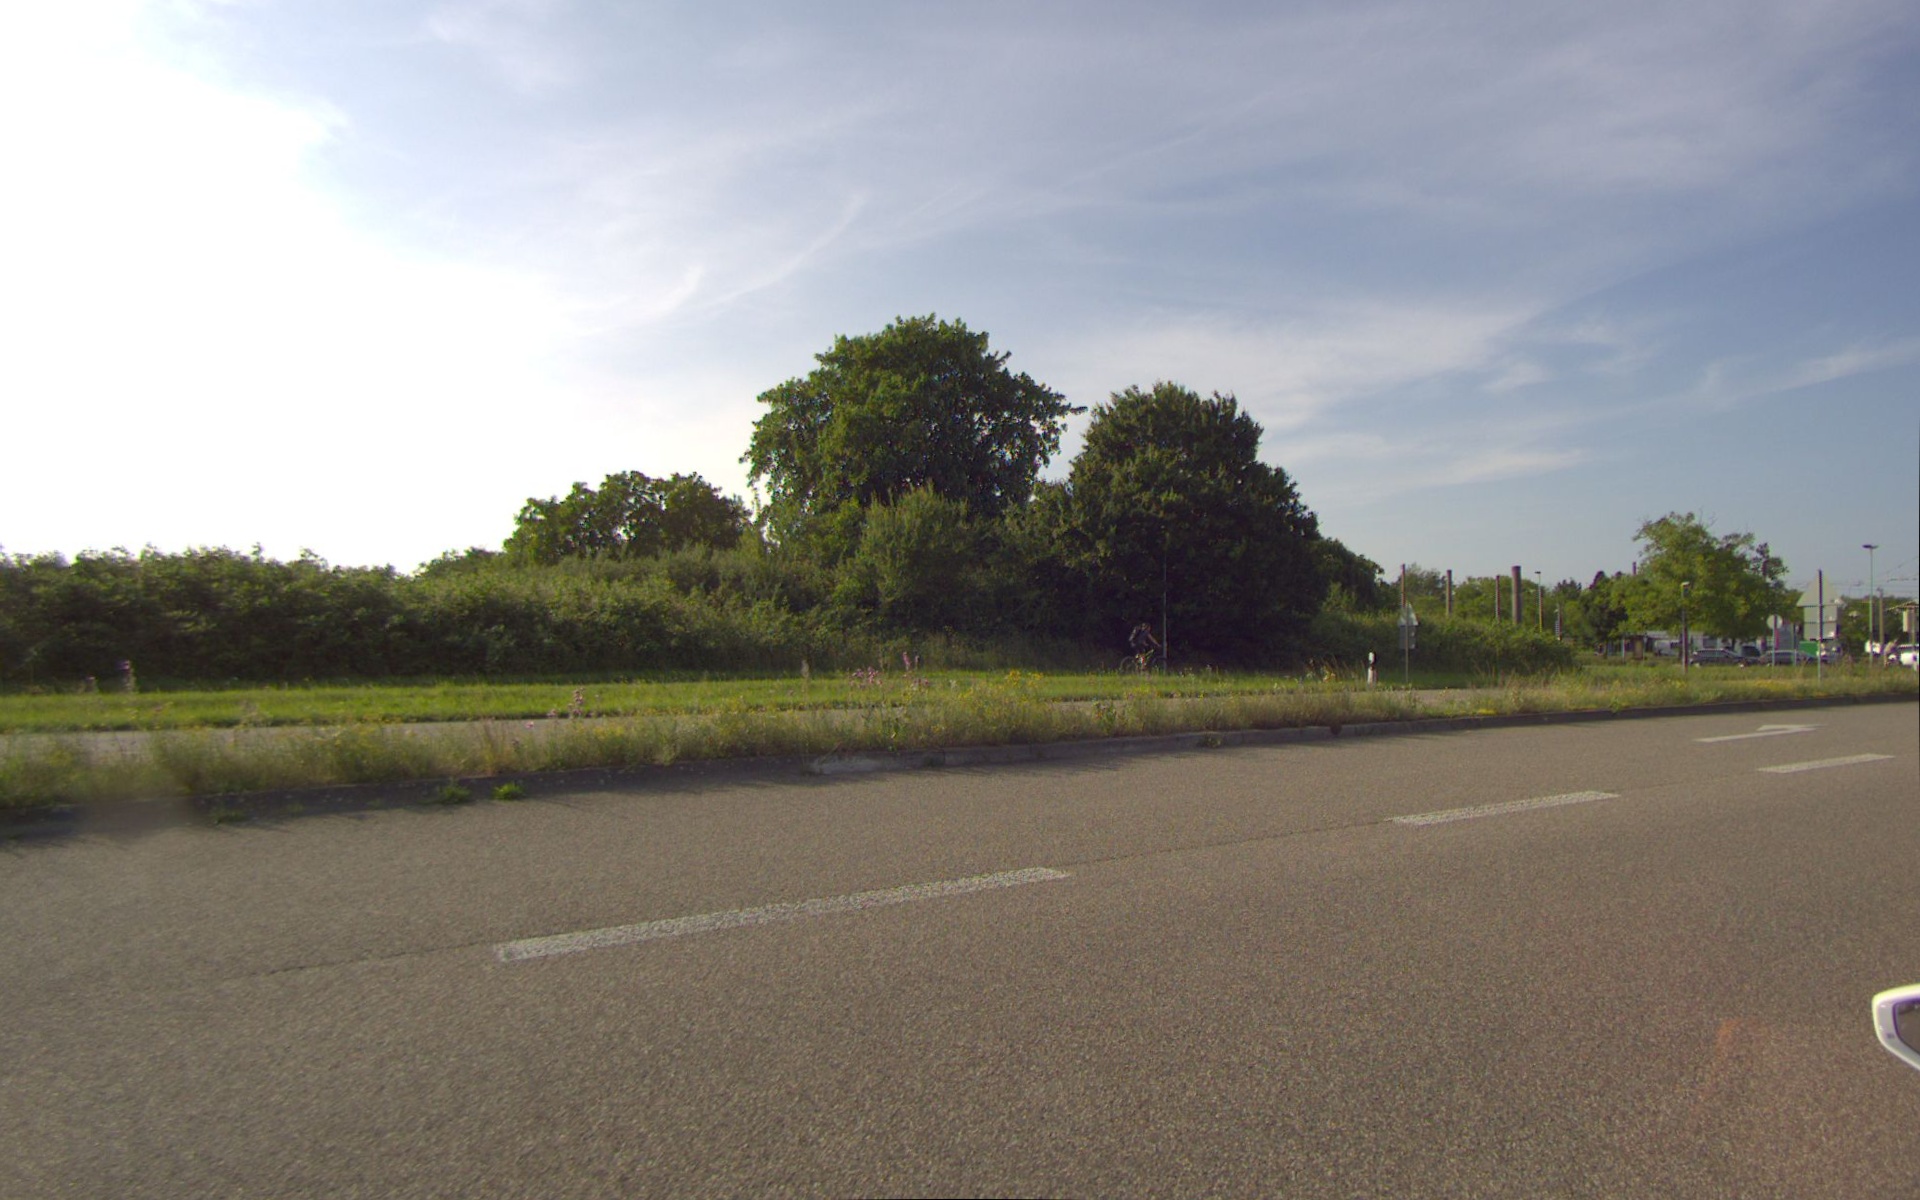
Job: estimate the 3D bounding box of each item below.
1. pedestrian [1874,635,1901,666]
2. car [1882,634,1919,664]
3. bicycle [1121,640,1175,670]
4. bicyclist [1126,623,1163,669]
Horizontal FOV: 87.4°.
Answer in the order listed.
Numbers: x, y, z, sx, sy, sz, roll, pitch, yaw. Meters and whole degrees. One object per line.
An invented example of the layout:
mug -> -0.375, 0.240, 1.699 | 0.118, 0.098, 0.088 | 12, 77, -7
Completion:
pedestrian -> 53.176, 2.880, 57.600 | 1.057, 1.728, 0.909 | 3, 0, -35
car -> 56.971, 2.914, 58.900 | 1.852, 1.684, 3.995 | 3, -1, -7
bicycle -> 5.782, 1.687, 30.828 | 1.685, 0.890, 0.527 | 2, -1, -30
bicyclist -> 5.652, 1.402, 30.779 | 1.035, 1.408, 0.464 | 1, -1, -30
